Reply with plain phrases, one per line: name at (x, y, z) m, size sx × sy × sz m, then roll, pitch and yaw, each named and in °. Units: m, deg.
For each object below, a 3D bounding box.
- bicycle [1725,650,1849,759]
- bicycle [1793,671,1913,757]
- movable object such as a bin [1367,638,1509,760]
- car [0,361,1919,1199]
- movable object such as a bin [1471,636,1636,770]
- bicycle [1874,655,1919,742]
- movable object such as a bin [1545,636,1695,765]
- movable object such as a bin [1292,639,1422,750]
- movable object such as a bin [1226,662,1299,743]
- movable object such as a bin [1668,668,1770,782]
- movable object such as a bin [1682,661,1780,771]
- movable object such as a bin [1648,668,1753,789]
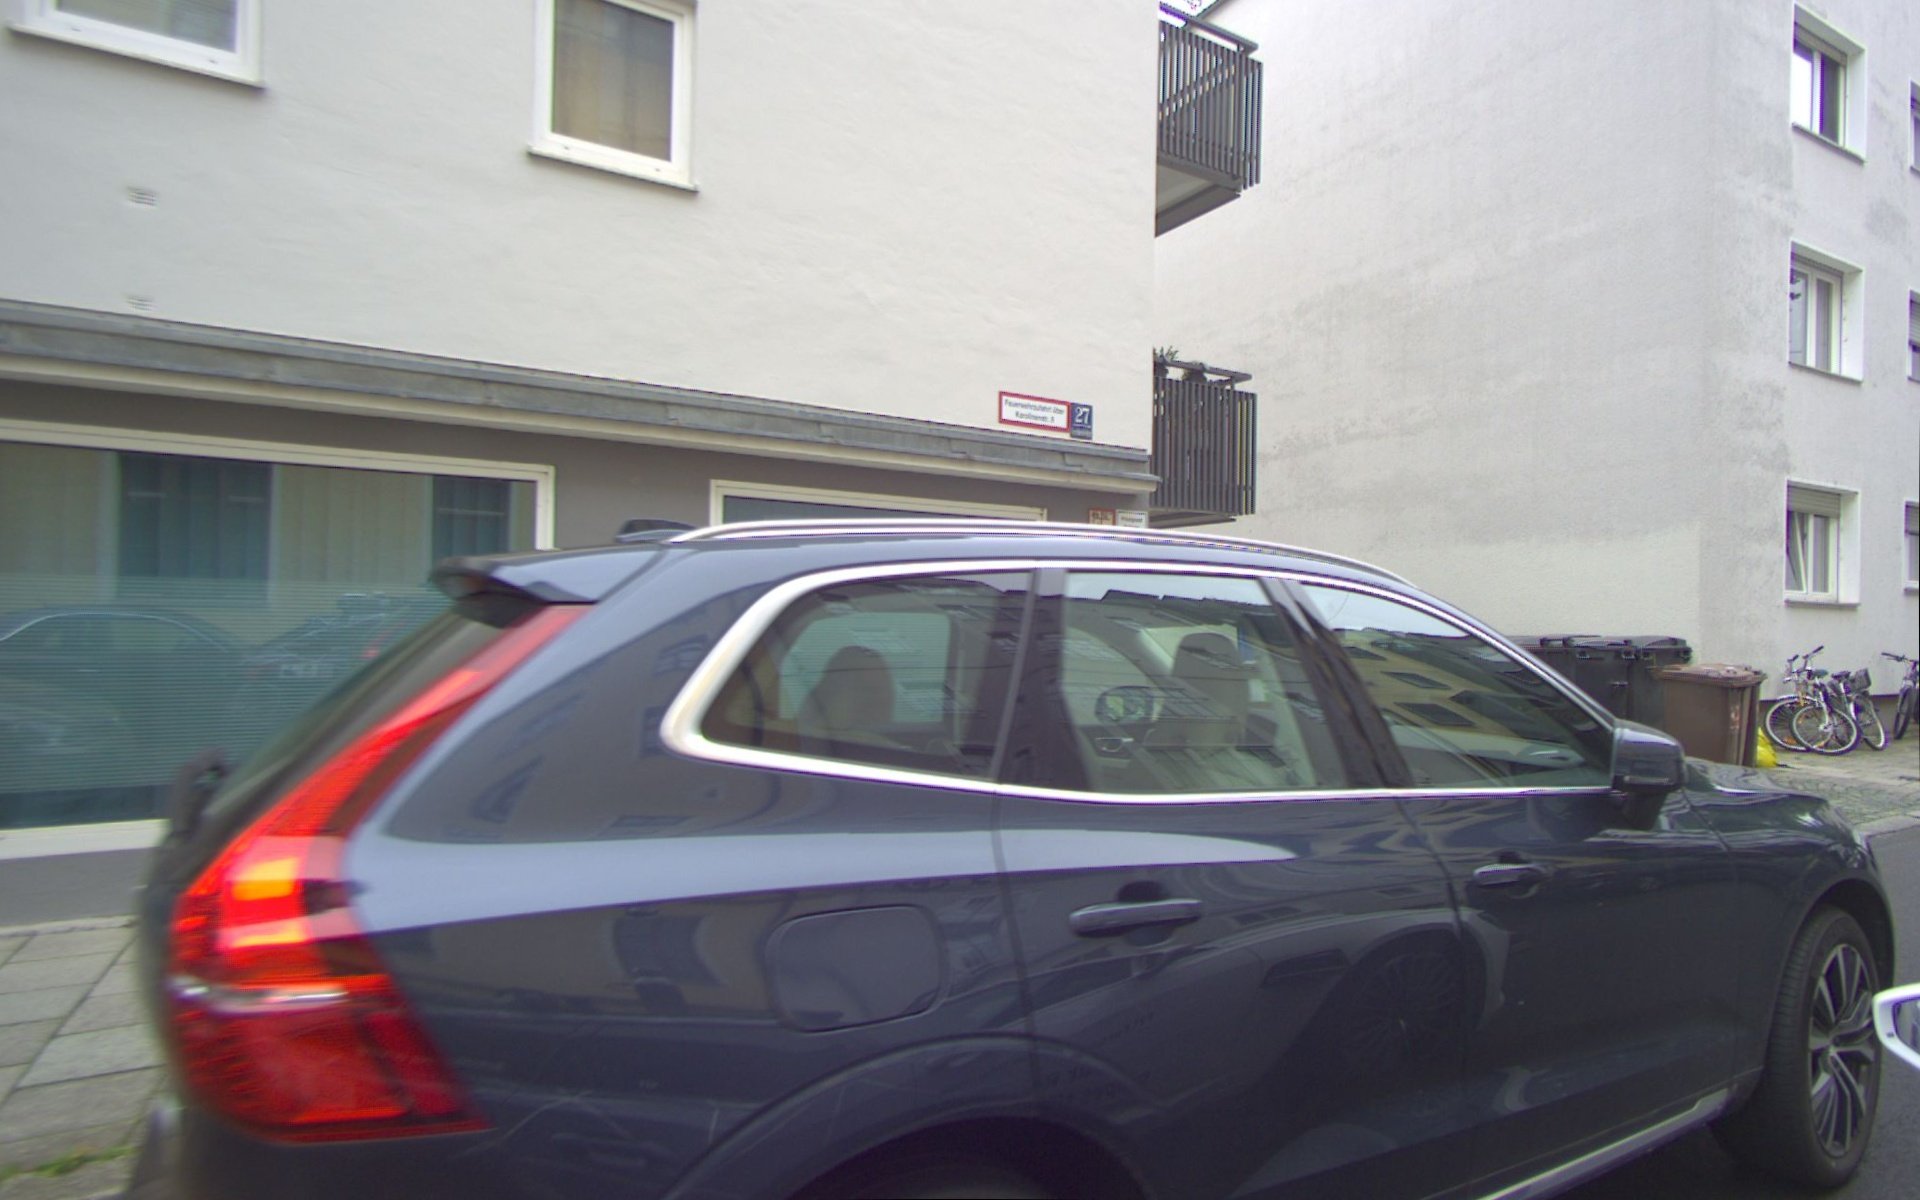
bicycle at (9.620, 1.175, 11.654) m, size 2.107 × 1.082 × 0.394 m, roll -1°, pitch 2°, yaw -30°
bicycle at (10.461, 1.302, 11.743) m, size 2.108 × 0.881 × 0.394 m, roll 1°, pitch 1°, yaw -30°
movable object such as a bin at (5.640, 1.136, 11.908) m, size 0.980 × 1.354 × 1.154 m, roll 1°, pitch -3°, yaw -27°
car at (0.627, 0.697, 2.611) m, size 4.361 × 1.651 × 1.769 m, roll 1°, pitch -2°, yaw -29°
movable object such as a bin at (6.433, 1.081, 10.928) m, size 1.012 × 1.354 × 1.162 m, roll 1°, pitch -3°, yaw -27°
bicycle at (12.788, 1.281, 13.371) m, size 1.739 × 1.065 × 0.394 m, roll 1°, pitch 1°, yaw -30°
movable object such as a bin at (7.426, 1.097, 11.330) m, size 0.980 × 1.354 × 1.044 m, roll 1°, pitch -3°, yaw -27°
movable object such as a bin at (5.157, 1.196, 13.115) m, size 0.980 × 1.354 × 1.227 m, roll 1°, pitch -3°, yaw -26°
movable object such as a bin at (4.128, 1.380, 13.729) m, size 0.688 × 1.058 × 0.648 m, roll 1°, pitch -3°, yaw -27°
movable object such as a bin at (7.575, 1.224, 10.032) m, size 0.579 × 1.034 × 0.645 m, roll 1°, pitch 1°, yaw -35°
movable object such as a bin at (8.017, 1.184, 10.452) m, size 0.579 × 1.034 × 0.645 m, roll 1°, pitch 1°, yaw -35°
movable object such as a bin at (7.062, 1.204, 9.589) m, size 0.579 × 1.034 × 0.645 m, roll 0°, pitch 2°, yaw -35°
